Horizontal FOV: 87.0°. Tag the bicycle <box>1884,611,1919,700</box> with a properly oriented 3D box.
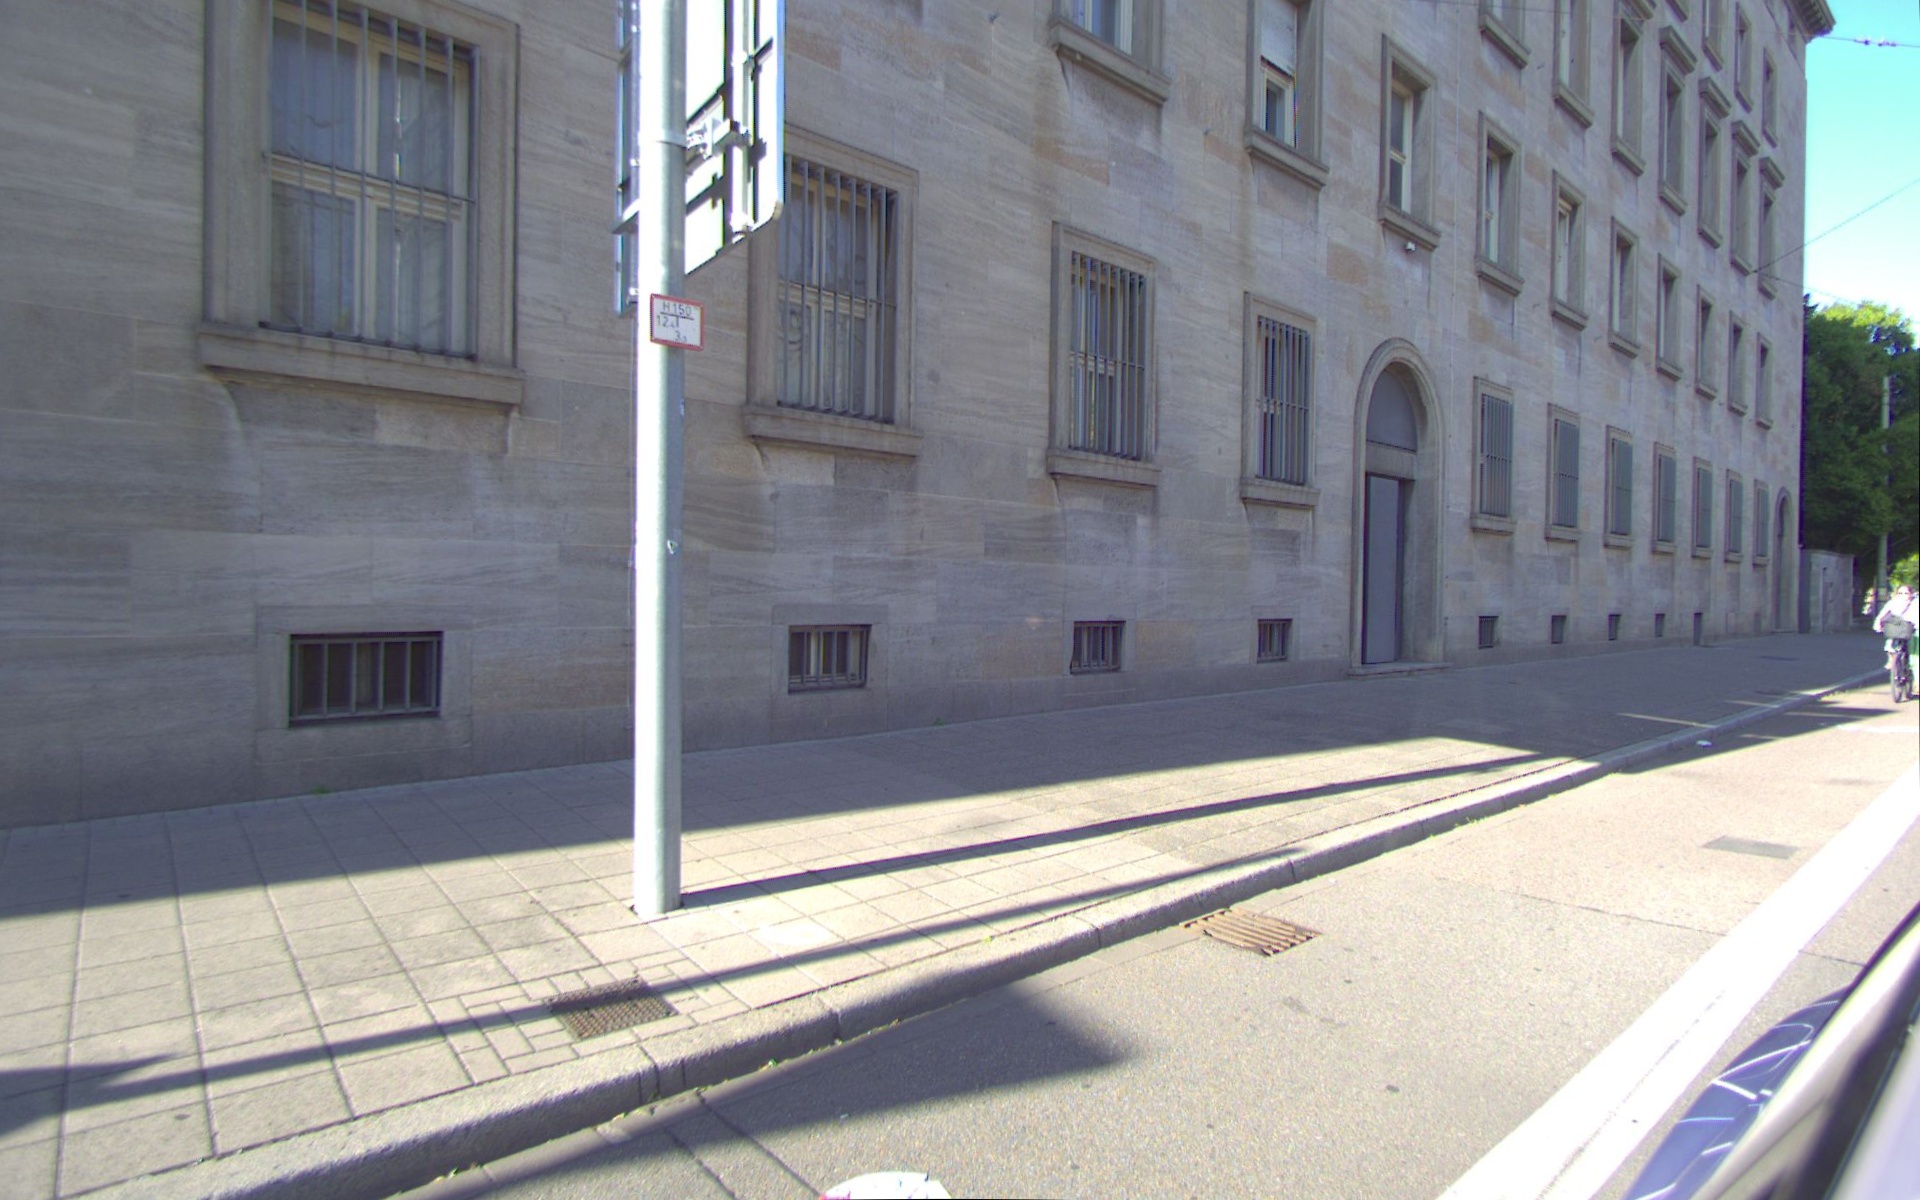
[{"bbox_3d":[14.137,0.791,14.862,1.630,1.236,0.624,0,-1,-41],"label":"bicycle"}]

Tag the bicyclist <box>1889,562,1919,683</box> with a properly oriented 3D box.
[{"bbox_3d":[14.145,0.323,14.869,0.676,1.761,0.624,0,-1,-41],"label":"bicyclist"}]

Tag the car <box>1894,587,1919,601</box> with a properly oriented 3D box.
[{"bbox_3d":[124.124,-0.833,132.588,1.987,1.821,3.949,1,1,35],"label":"car"}]
